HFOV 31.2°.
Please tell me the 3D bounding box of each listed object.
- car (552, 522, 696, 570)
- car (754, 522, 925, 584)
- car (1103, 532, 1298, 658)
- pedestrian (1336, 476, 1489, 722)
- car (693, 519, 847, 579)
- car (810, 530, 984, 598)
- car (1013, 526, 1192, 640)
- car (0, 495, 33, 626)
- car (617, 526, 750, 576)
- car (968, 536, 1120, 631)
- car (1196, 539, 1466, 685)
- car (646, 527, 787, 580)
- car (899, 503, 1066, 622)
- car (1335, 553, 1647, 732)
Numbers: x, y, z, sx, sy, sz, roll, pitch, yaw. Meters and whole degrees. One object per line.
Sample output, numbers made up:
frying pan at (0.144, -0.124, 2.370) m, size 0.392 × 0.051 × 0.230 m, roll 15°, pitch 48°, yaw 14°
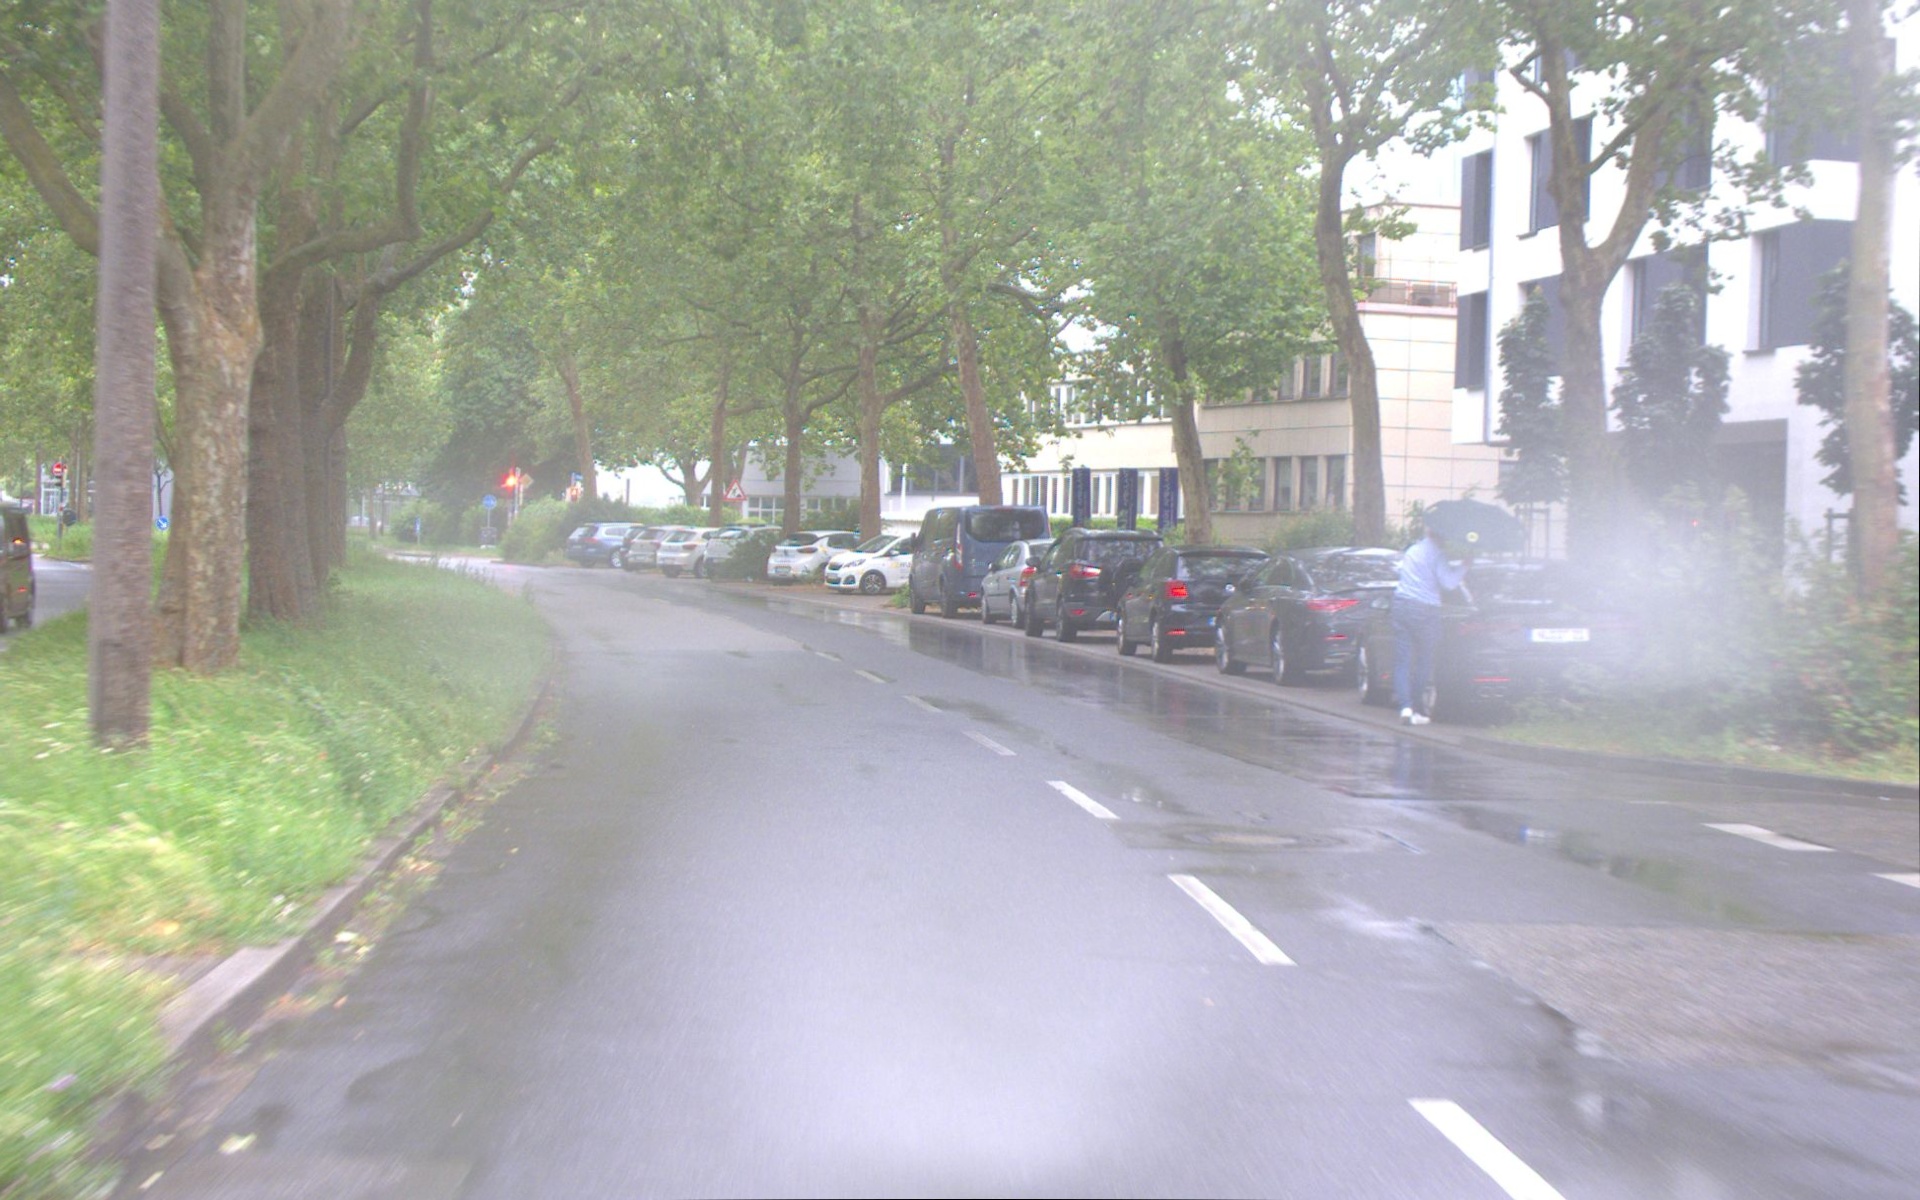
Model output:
car at (-11.003, -1.762, 112.649) m, size 4.483 × 1.454 × 1.748 m, roll 1°, pitch 1°, yaw -40°
car at (-2.937, -1.150, 84.348) m, size 4.027 × 1.423 × 1.748 m, roll 1°, pitch 1°, yaw -44°
car at (2.976, -0.095, 43.297) m, size 1.743 × 1.471 × 4.083 m, roll 1°, pitch 1°, yaw -6°
pedestrian at (3.777, -0.017, 28.700) m, size 0.897 × 2.007 × 0.833 m, roll 1°, pitch 1°, yaw -42°
car at (-5.146, -1.382, 93.493) m, size 1.748 × 1.534 × 4.028 m, roll 2°, pitch 1°, yaw 44°
car at (-1.475, -0.833, 80.245) m, size 3.634 × 1.499 × 1.749 m, roll 0°, pitch 2°, yaw -28°
car at (2.029, -0.284, 50.277) m, size 1.743 × 1.561 × 4.373 m, roll 1°, pitch 1°, yaw -9°
car at (-14.092, -0.594, 47.734) m, size 2.029 × 1.730 × 4.956 m, roll 1°, pitch 1°, yaw -12°
car at (-8.335, -1.478, 103.784) m, size 3.683 × 1.411 × 1.775 m, roll 1°, pitch 1°, yaw -44°
car at (1.344, -0.299, 57.072) m, size 1.743 × 1.464 × 4.307 m, roll 1°, pitch 1°, yaw -9°
car at (3.928, 0.081, 37.280) m, size 1.743 × 1.423 × 5.105 m, roll 1°, pitch 1°, yaw -7°
car at (-6.960, -1.326, 98.407) m, size 3.682 × 1.411 × 1.748 m, roll 1°, pitch 1°, yaw -40°
car at (0.342, -0.707, 62.320) m, size 2.121 × 2.021 × 5.529 m, roll 1°, pitch 1°, yaw -9°
car at (4.644, 0.319, 30.763) m, size 1.743 × 1.423 × 4.860 m, roll -1°, pitch 1°, yaw -4°
